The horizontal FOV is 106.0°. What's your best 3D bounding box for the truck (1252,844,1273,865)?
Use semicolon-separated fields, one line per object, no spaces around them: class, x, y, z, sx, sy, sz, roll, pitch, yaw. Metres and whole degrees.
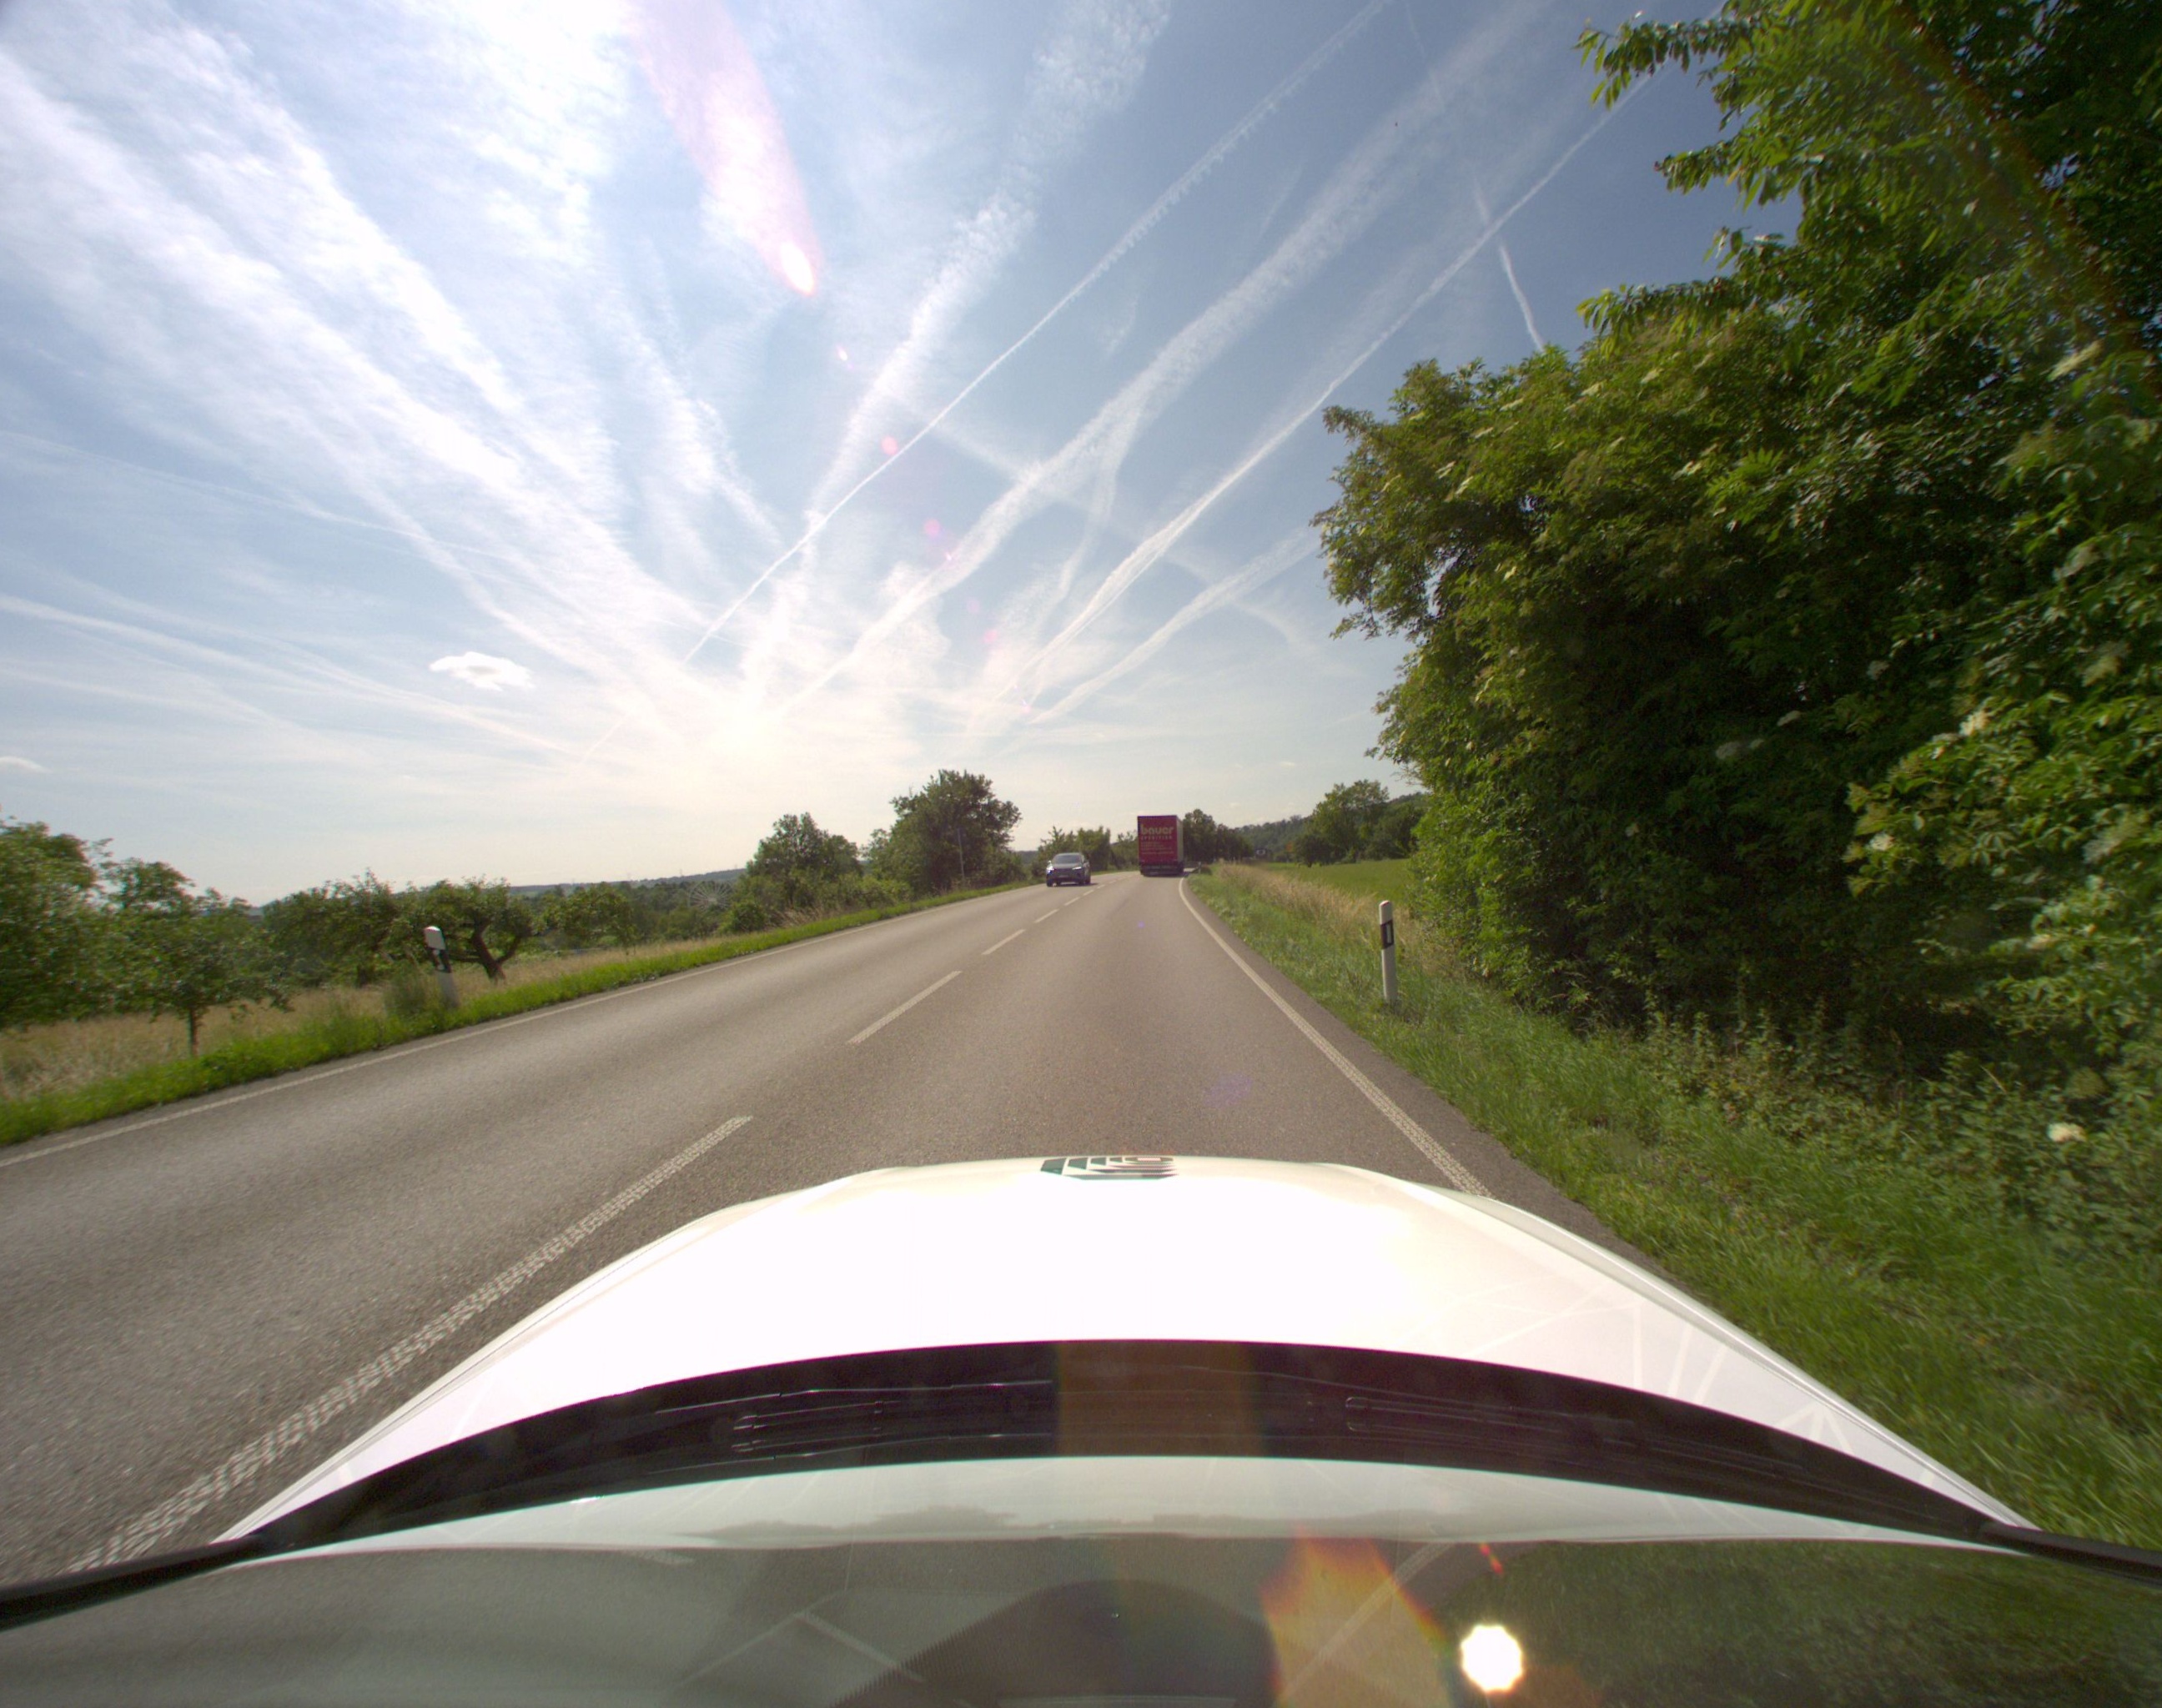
truck;44.762;0.137;200.537;3.874;4.690;16.445;-3;-2;16

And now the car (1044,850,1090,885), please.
car;-0.643;0.657;41.442;1.870;1.593;4.497;-2;0;4

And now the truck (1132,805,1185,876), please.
truck;5.668;-0.755;57.643;3.095;4.506;12.194;0;-1;8
